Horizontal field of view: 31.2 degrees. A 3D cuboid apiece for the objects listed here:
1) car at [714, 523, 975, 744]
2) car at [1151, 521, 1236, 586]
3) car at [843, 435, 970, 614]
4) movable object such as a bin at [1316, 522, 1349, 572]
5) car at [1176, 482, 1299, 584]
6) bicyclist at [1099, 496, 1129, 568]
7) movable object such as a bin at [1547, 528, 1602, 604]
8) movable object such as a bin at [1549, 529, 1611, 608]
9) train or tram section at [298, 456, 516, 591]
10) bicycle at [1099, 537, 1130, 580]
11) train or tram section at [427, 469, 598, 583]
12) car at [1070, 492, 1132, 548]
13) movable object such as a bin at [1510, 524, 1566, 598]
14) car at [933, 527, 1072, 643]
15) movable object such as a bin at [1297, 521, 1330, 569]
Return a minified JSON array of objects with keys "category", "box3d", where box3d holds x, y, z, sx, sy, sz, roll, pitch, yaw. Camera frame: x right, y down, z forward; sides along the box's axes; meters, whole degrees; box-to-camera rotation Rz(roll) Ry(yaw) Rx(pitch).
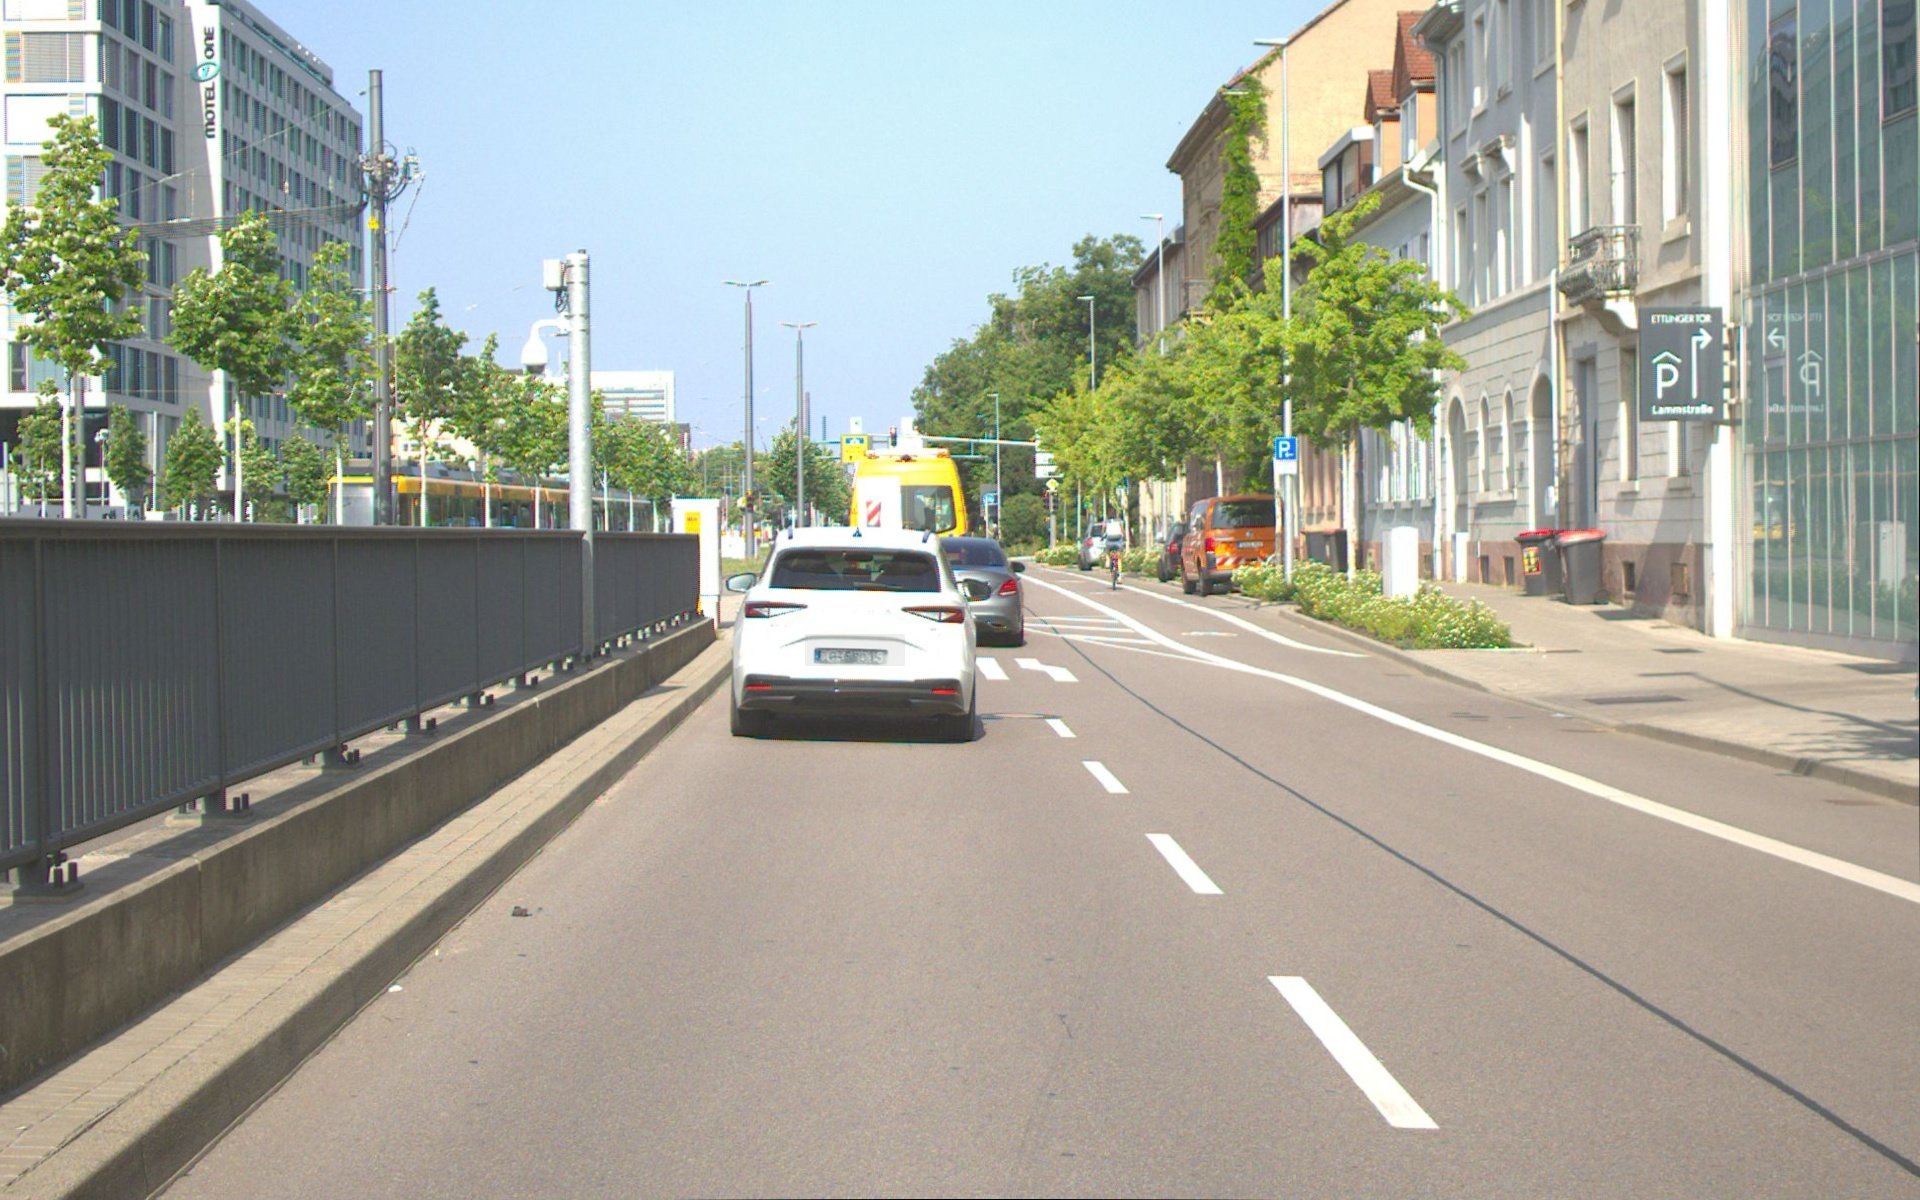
[{"category":"car","box3d":[-0.849,0.194,26.768,1.870,1.569,4.000,0,1,0]},{"category":"car","box3d":[5.650,-1.140,83.611,1.673,1.478,4.313,-2,1,-1]},{"category":"car","box3d":[-0.873,-1.336,57.649,2.020,2.786,5.402,0,3,0]},{"category":"movable object such as a bin","box3d":[9.004,-1.293,83.151,0.679,1.196,0.781,0,2,-2]},{"category":"car","box3d":[5.643,-1.415,70.416,2.063,2.006,4.589,0,2,-1]},{"category":"bicyclist","box3d":[3.412,-1.505,76.063,0.639,1.571,0.771,0,1,2]},{"category":"movable object such as a bin","box3d":[9.555,-0.533,53.499,0.704,1.148,0.671,0,3,-1]},{"category":"movable object such as a bin","box3d":[9.468,-0.486,52.529,0.781,1.168,0.808,0,3,-1]},{"category":"train or tram section","box3d":[-16.513,-2.269,104.402,2.906,3.663,18.136,1,1,2]},{"category":"bicycle","box3d":[3.415,-0.917,76.046,0.655,0.935,1.517,0,1,2]},{"category":"train or tram section","box3d":[-15.744,-2.584,122.617,2.906,3.694,18.289,1,1,2]},{"category":"car","box3d":[4.660,-2.669,113.883,1.812,1.806,3.836,0,2,-1]},{"category":"movable object such as a bin","box3d":[9.409,-0.638,55.949,0.669,1.148,0.617,-3,4,-44]},{"category":"car","box3d":[0.535,-0.236,46.311,1.760,1.431,4.115,1,2,0]},{"category":"movable object such as a bin","box3d":[8.860,-1.385,86.180,0.740,1.196,0.773,0,2,-2]}]
